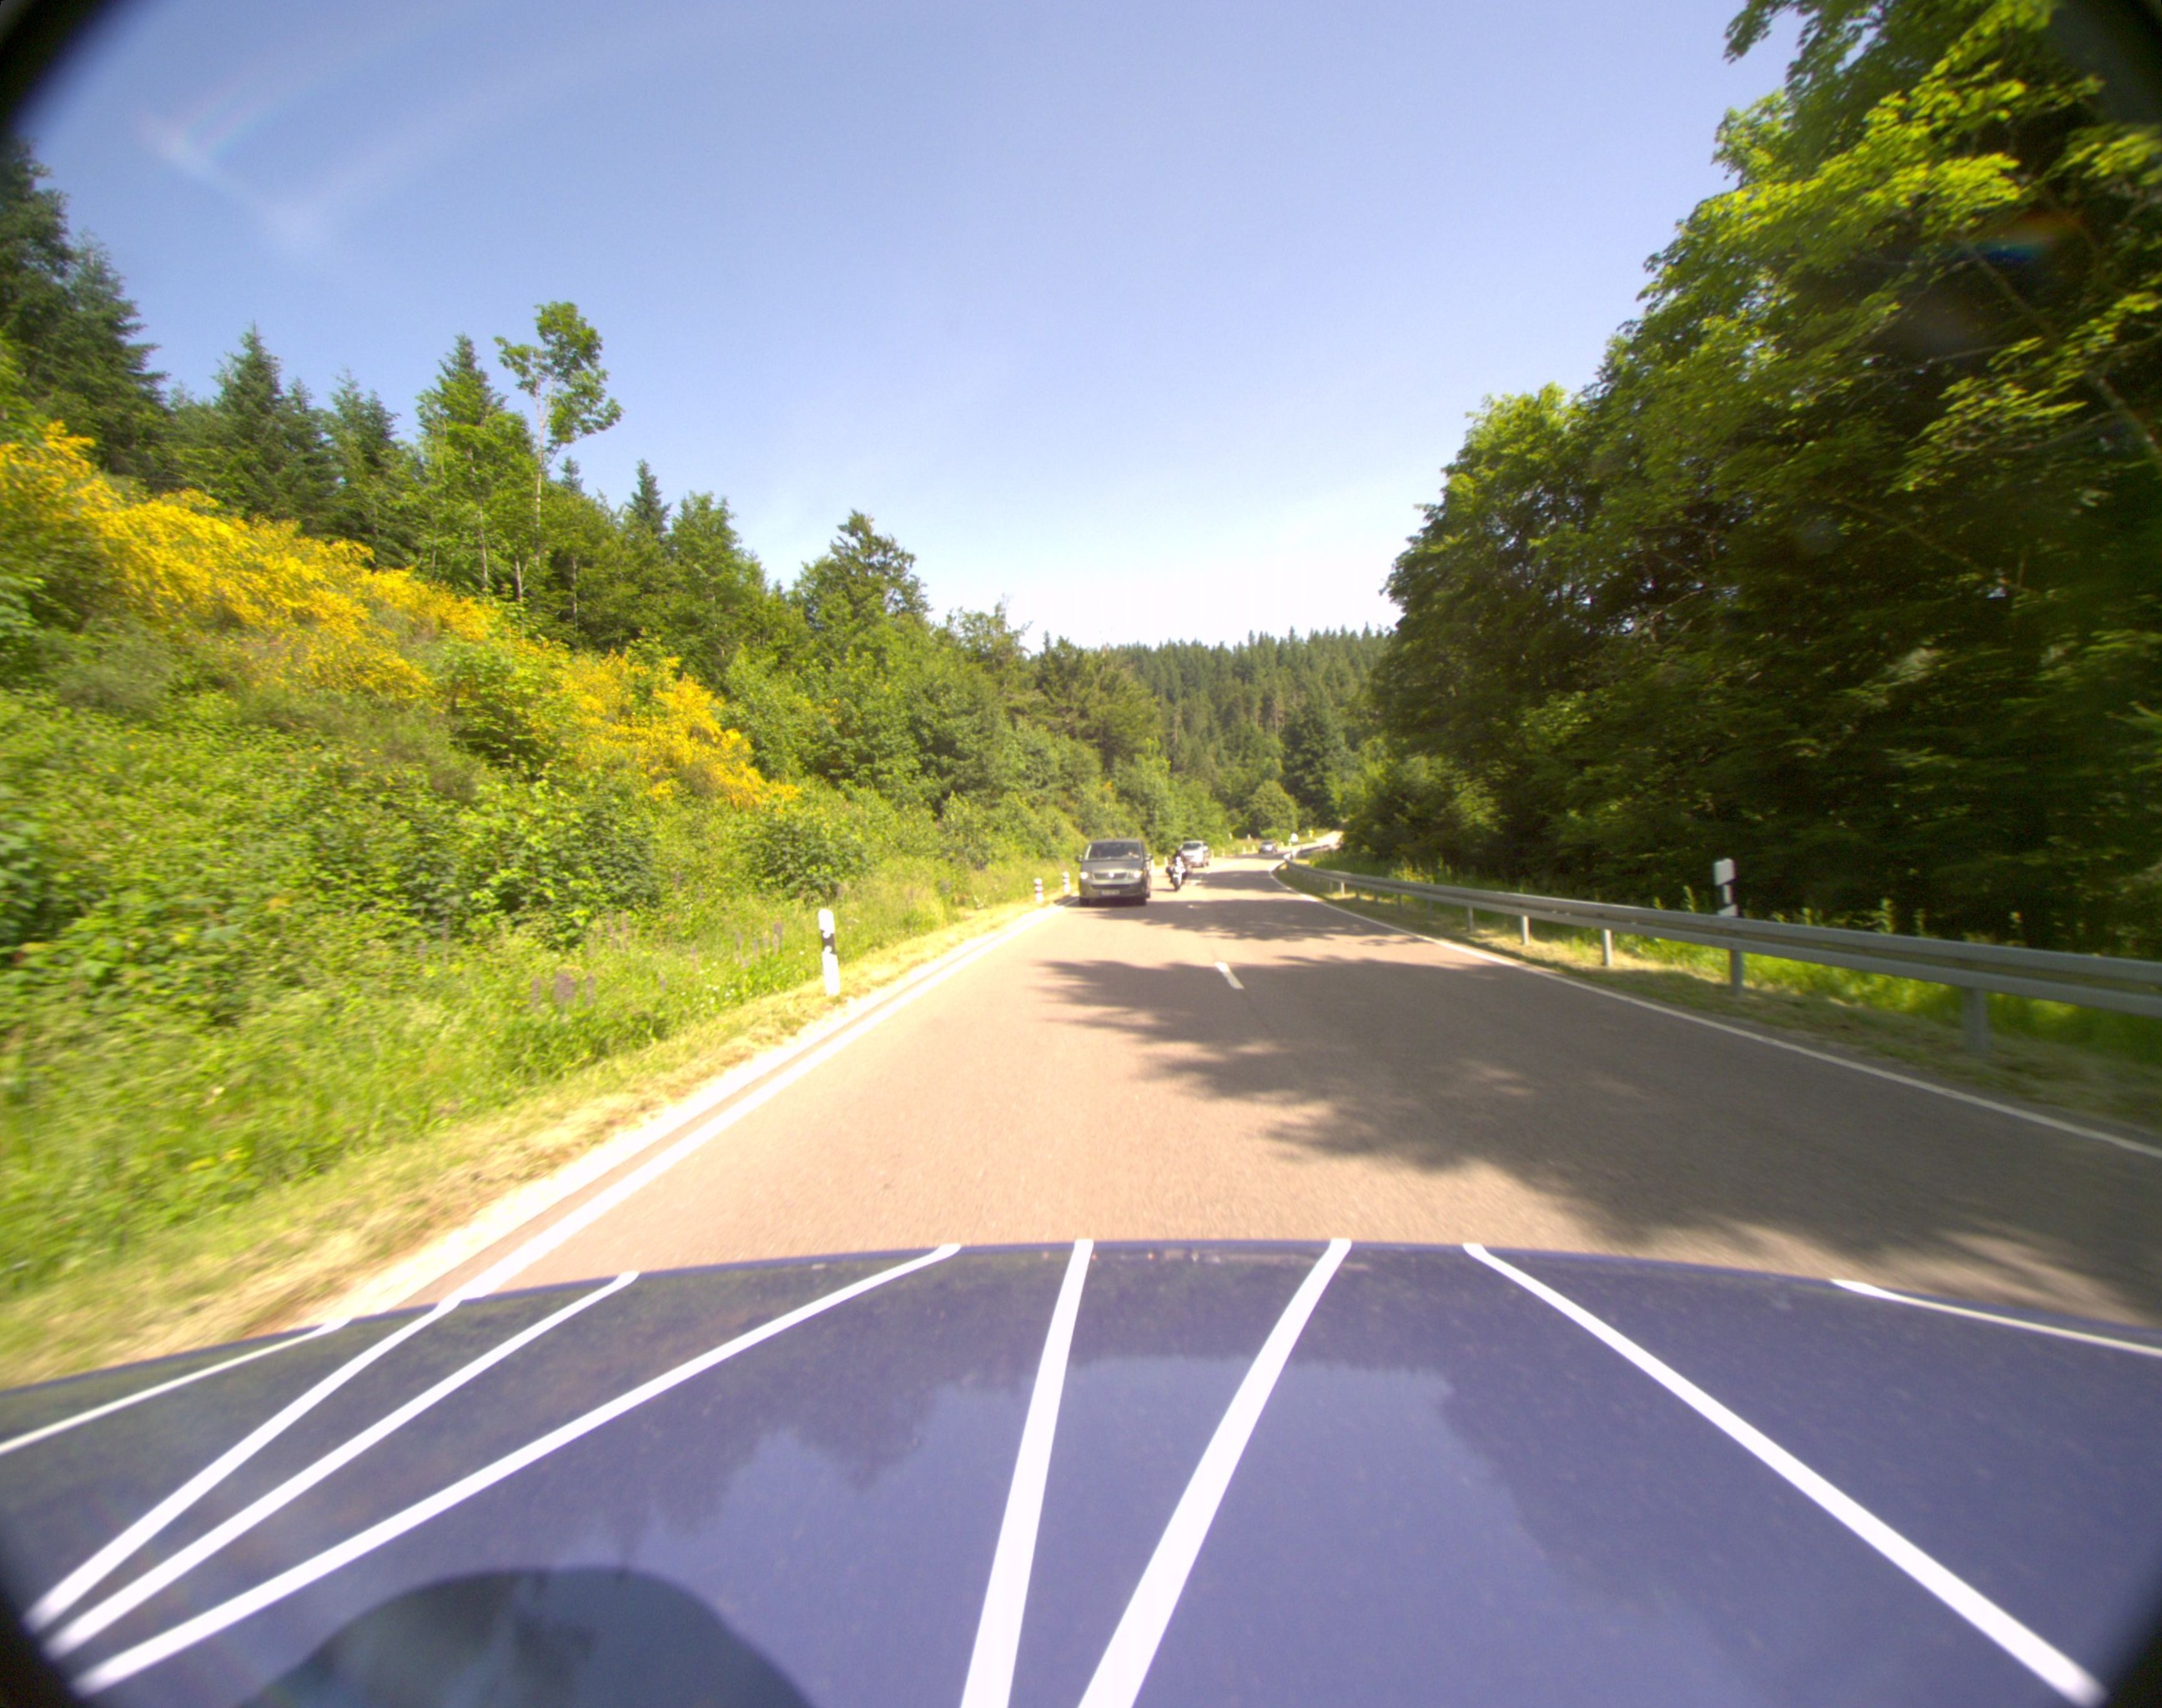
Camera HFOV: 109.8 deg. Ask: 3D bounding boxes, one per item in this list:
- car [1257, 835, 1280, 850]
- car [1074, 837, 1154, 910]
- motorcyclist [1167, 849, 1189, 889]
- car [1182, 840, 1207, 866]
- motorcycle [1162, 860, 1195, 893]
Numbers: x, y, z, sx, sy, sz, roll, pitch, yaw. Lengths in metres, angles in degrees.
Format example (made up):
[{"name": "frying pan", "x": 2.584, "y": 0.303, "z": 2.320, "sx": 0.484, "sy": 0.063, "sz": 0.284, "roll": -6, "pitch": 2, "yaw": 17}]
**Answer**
[{"name": "car", "x": 22.189, "y": -1.380, "z": 89.700, "sx": 1.995, "sy": 1.634, "sz": 4.005, "roll": -2, "pitch": 2, "yaw": 23}, {"name": "car", "x": 1.123, "y": 0.506, "z": 22.983, "sx": 2.028, "sy": 1.940, "sz": 4.901, "roll": -1, "pitch": 1, "yaw": 6}, {"name": "motorcyclist", "x": 3.578, "y": 0.536, "z": 27.965, "sx": 0.716, "sy": 1.422, "sz": 0.999, "roll": -3, "pitch": 1, "yaw": 8}, {"name": "car", "x": 8.236, "y": -0.107, "z": 54.964, "sx": 1.651, "sy": 1.749, "sz": 3.796, "roll": -1, "pitch": 2, "yaw": 11}, {"name": "motorcycle", "x": 3.599, "y": 0.796, "z": 27.991, "sx": 1.109, "sy": 1.117, "sz": 1.962, "roll": -1, "pitch": 0, "yaw": 8}]
